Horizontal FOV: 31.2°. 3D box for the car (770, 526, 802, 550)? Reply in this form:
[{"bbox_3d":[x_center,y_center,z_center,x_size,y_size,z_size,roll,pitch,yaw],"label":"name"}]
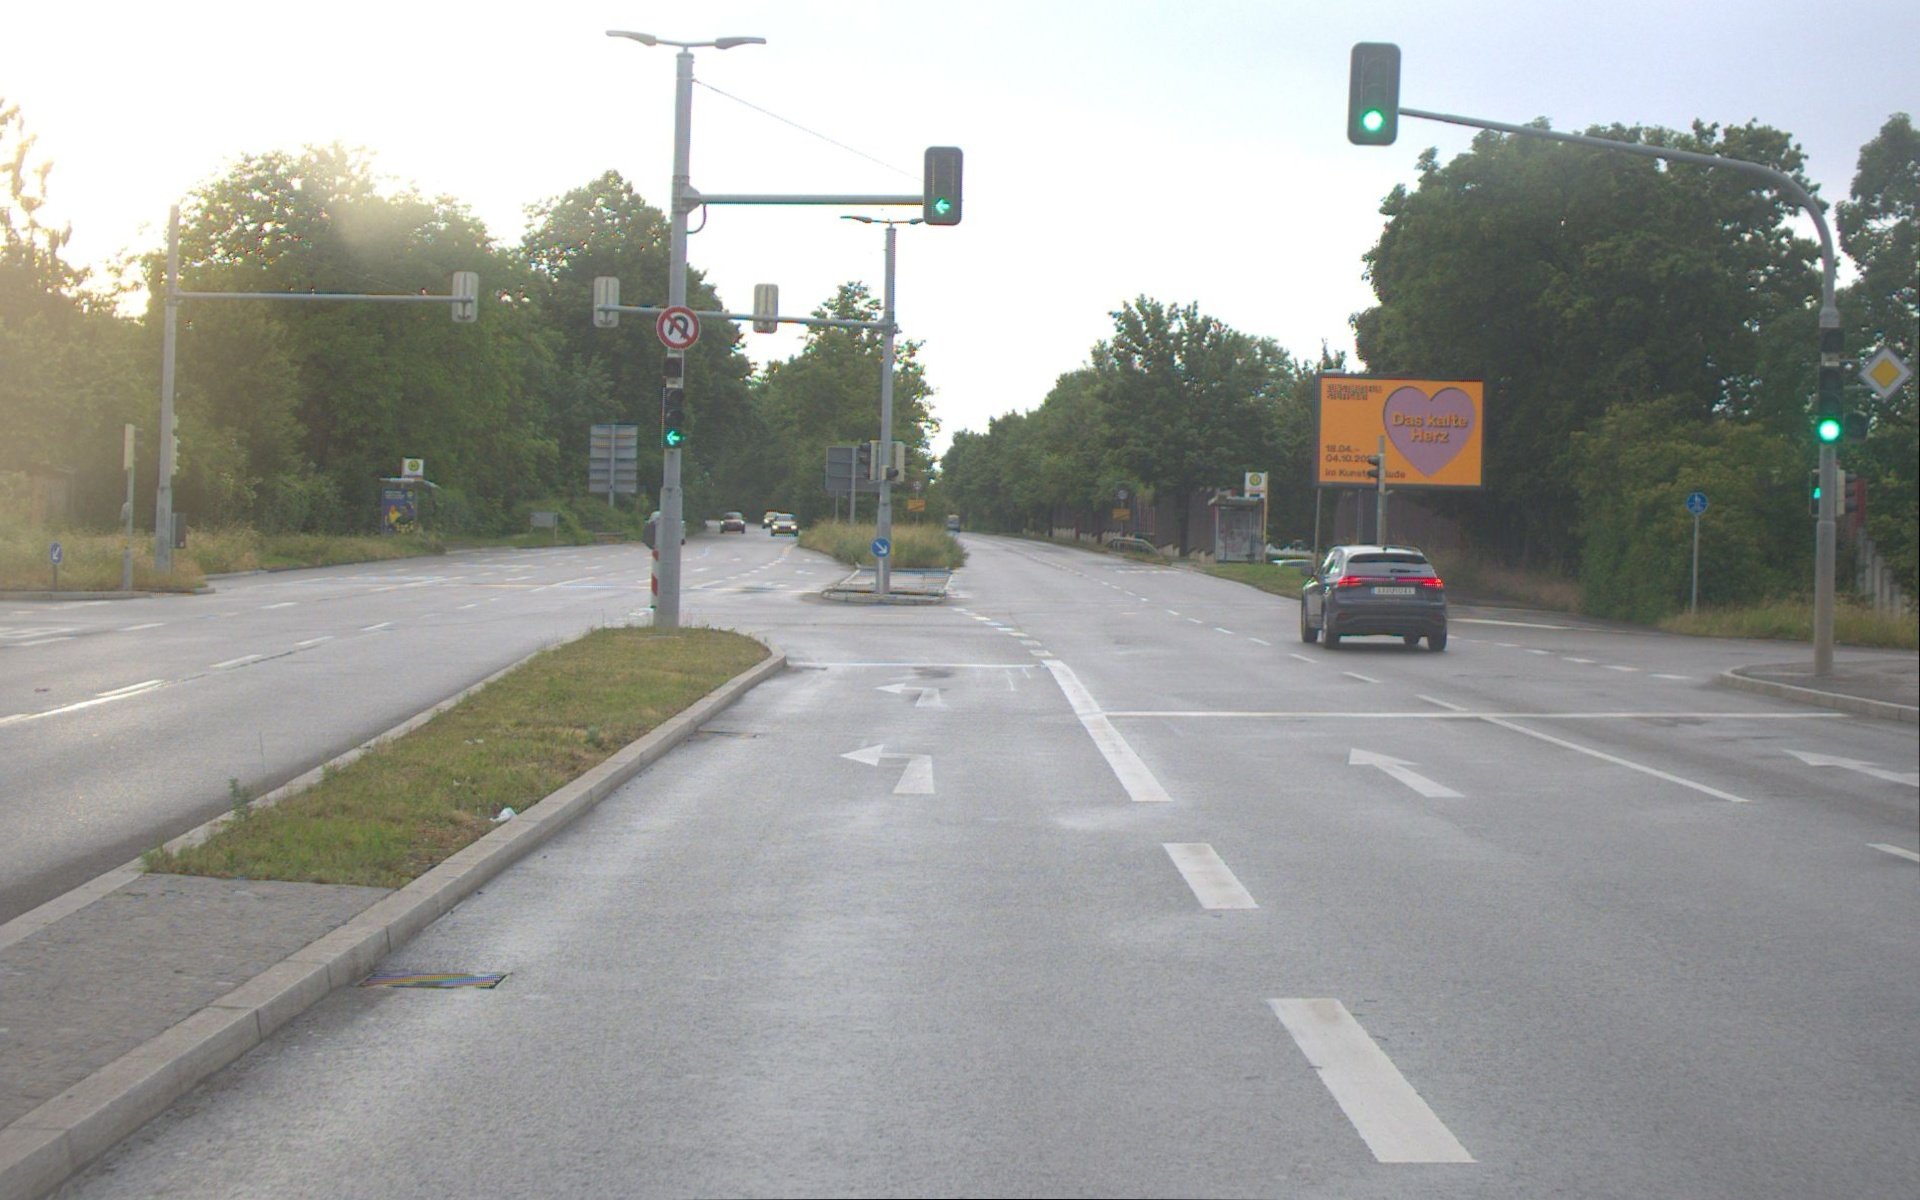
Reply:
[{"bbox_3d":[-11.553,-4.134,228.390,1.893,1.529,4.489,2,1,-1],"label":"car"}]

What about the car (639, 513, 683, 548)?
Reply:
[{"bbox_3d":[-14.361,-3.334,165.360,1.768,1.590,4.489,2,1,-1],"label":"car"}]

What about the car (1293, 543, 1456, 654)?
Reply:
[{"bbox_3d":[5.947,-0.058,49.692,1.745,1.465,4.166,2,1,-1],"label":"car"}]
